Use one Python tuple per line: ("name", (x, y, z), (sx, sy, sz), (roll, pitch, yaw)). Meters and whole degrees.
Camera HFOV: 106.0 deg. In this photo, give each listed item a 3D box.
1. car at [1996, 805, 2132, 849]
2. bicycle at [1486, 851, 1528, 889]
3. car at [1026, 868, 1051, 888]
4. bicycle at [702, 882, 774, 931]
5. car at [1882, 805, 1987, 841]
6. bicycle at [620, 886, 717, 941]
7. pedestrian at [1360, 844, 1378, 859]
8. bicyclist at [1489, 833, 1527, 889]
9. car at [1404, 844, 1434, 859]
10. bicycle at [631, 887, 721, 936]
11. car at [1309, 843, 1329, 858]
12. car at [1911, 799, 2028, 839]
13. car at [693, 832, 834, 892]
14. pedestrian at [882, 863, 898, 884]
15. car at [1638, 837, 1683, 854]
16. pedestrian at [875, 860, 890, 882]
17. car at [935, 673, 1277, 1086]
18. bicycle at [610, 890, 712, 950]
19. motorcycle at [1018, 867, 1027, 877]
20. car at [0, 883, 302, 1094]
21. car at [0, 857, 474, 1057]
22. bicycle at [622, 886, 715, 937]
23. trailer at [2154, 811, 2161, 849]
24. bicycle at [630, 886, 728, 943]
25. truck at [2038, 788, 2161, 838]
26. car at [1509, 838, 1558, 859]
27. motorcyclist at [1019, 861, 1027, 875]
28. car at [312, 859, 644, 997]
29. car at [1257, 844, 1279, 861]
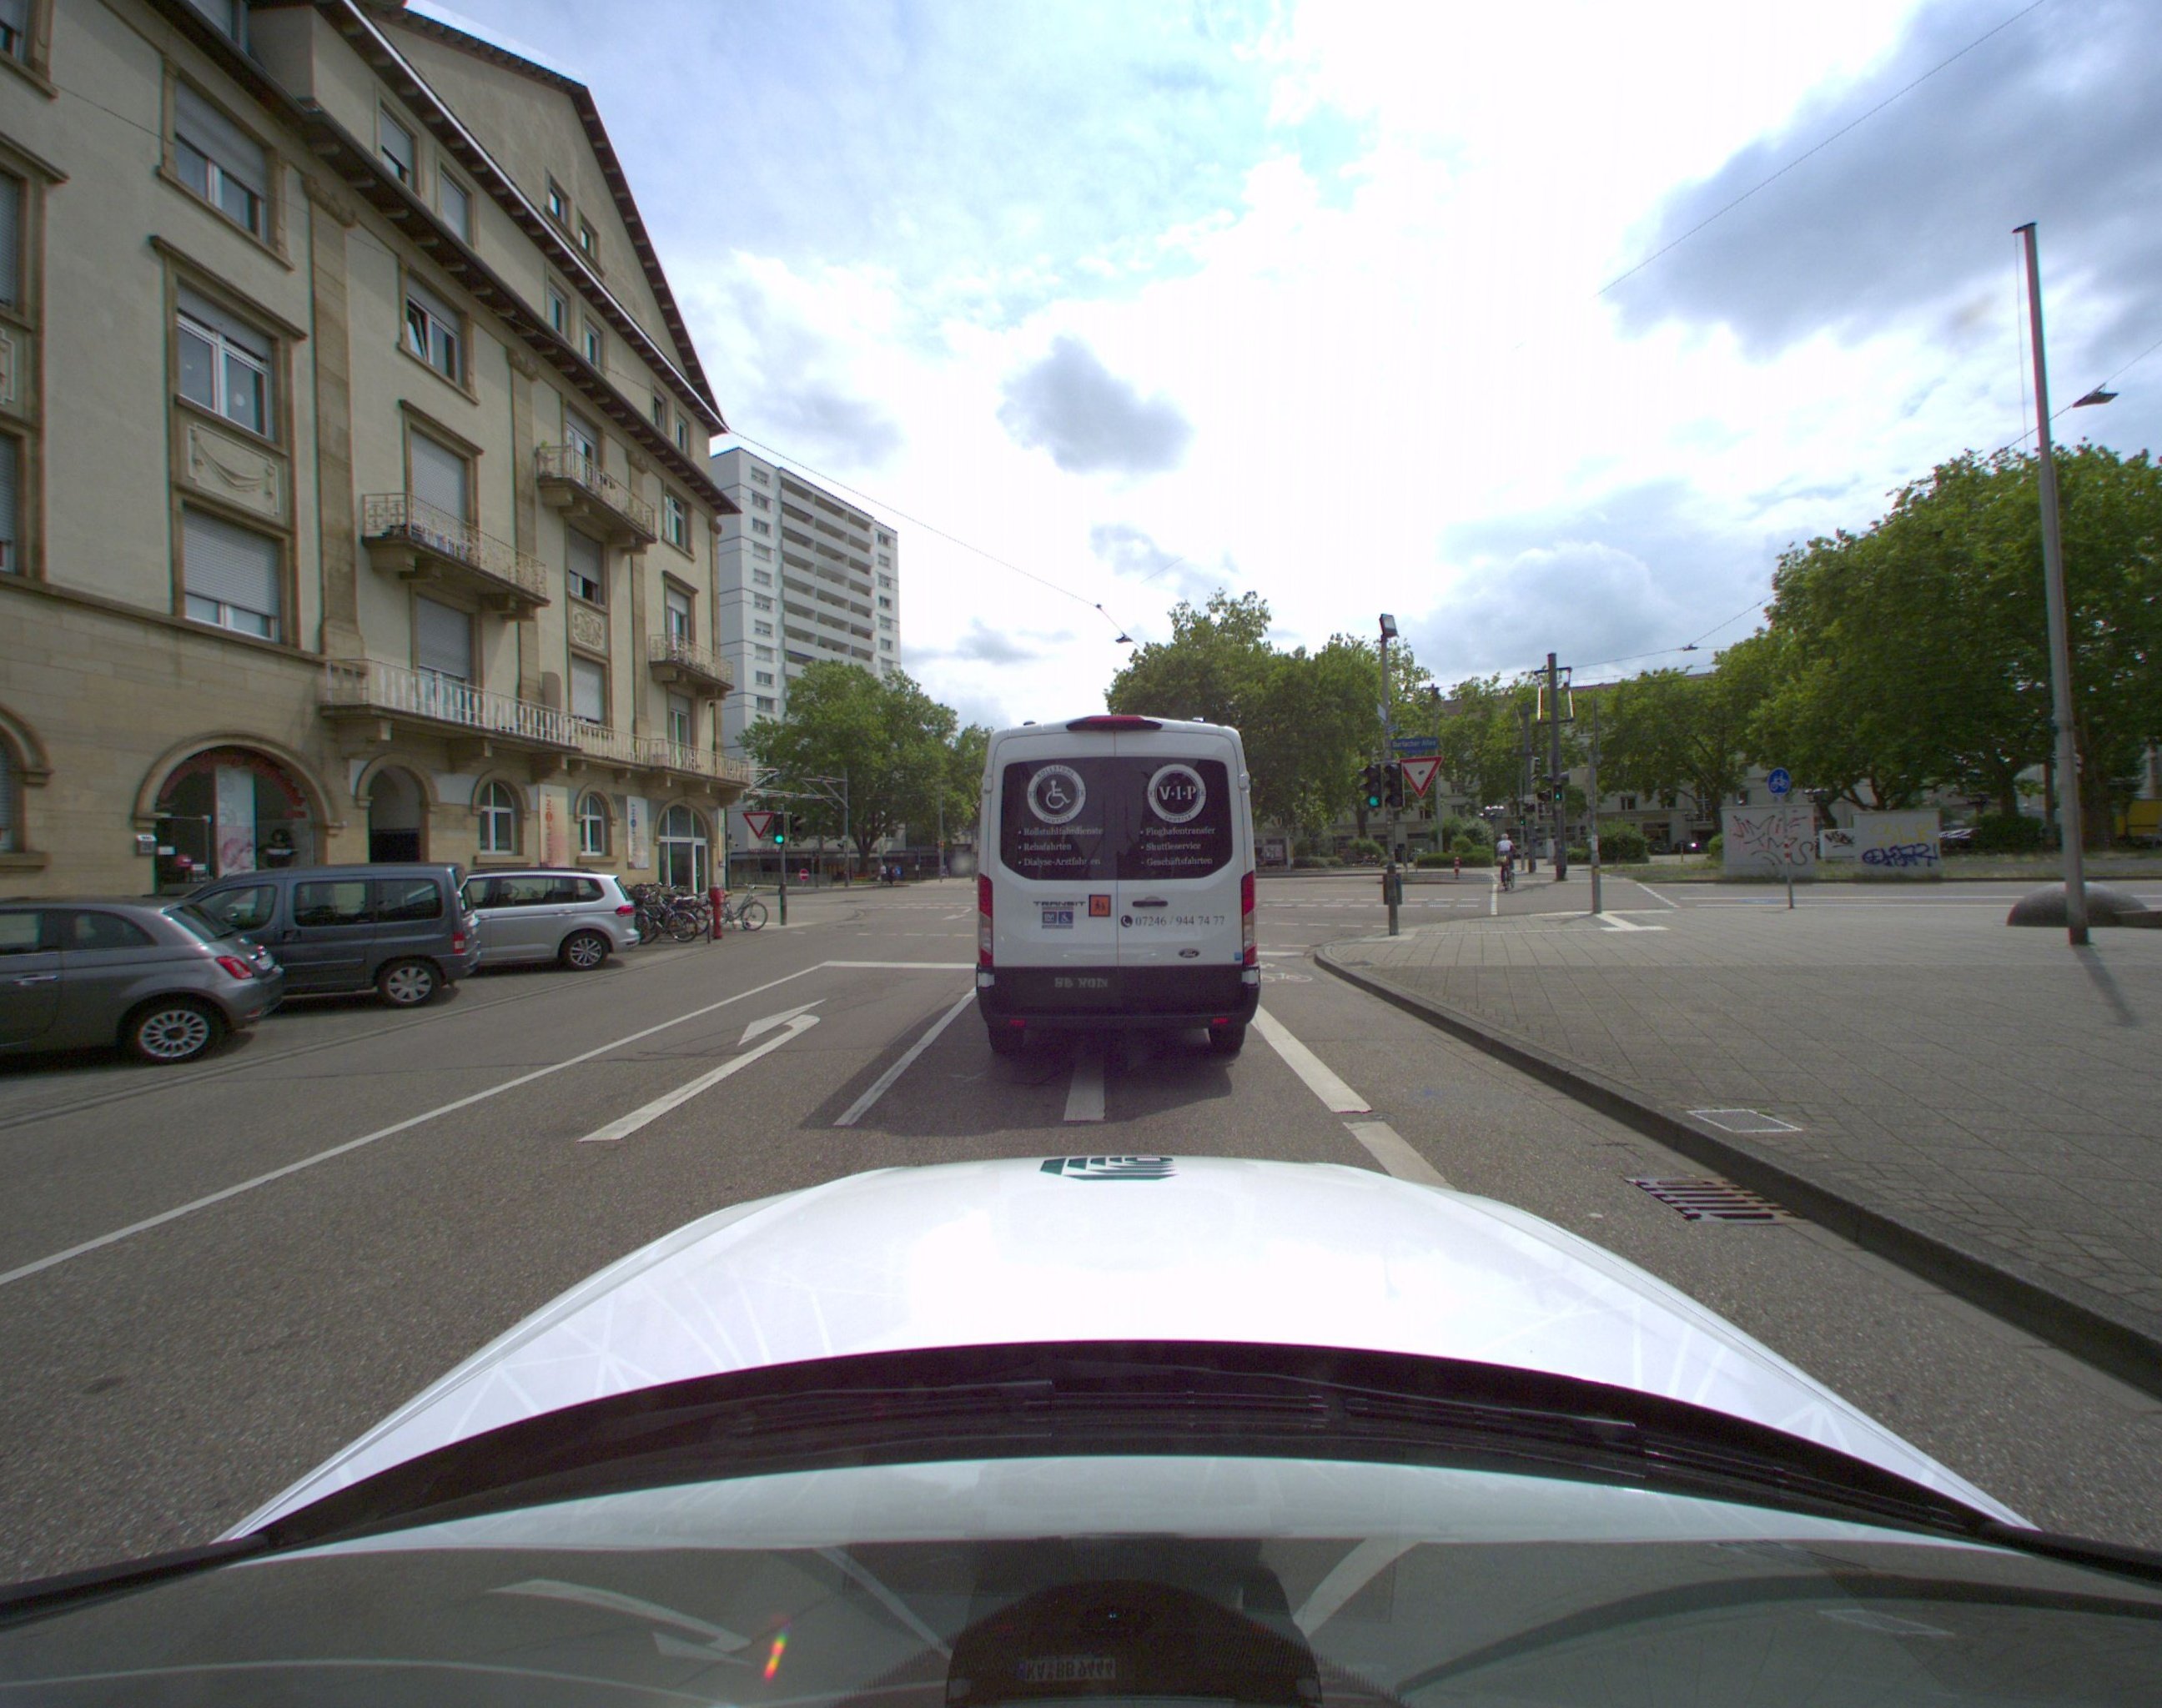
("car", (64.981, -1.729, 53.975), (5.271, 2.585, 2.192), (-2, -1, 24))
("bicycle", (13.031, 0.476, 24.861), (0.894, 1.075, 1.983), (-2, 0, 34))
("car", (-3.575, 2.026, 68.690), (1.584, 1.507, 3.812), (-2, 0, 5))
("bicycle", (-8.656, 1.312, 20.558), (1.859, 1.167, 0.500), (0, -1, 22))
("car", (68.890, -2.426, 65.877), (5.271, 2.585, 2.512), (-2, -1, 24))
("bicycle", (-9.171, 1.309, 18.144), (1.807, 1.166, 0.593), (0, -1, -6))
("pedestrian", (24.676, -0.185, 69.864), (1.086, 1.236, 1.443), (-4, -1, 6))
("bicyclist", (12.976, 0.215, 24.745), (0.895, 1.683, 0.762), (-2, 0, 34))
("car", (36.237, -0.318, 87.378), (1.983, 1.503, 4.008), (-2, 0, 7))
("bicycle", (-9.662, 1.355, 19.466), (1.807, 1.120, 0.593), (0, -1, -6))
("car", (29.839, -0.438, 102.071), (1.788, 1.684, 4.023), (-2, 0, 24))
("car", (66.645, -2.574, 61.224), (5.271, 2.585, 2.512), (-2, -1, 24))
("car", (-22.514, 0.632, 57.643), (9.793, 3.915, 3.476), (-2, 0, 26))
("pedestrian", (-13.946, 1.443, 59.360), (0.727, 1.514, 0.921), (-2, 0, -42))
("car", (55.576, -0.821, 78.214), (1.757, 1.503, 4.008), (-2, 0, 7))
("pedestrian", (-14.225, 1.204, 58.345), (0.727, 1.572, 0.800), (-2, 0, -41))
("car", (0.193, 0.153, 7.637), (2.174, 2.648, 4.628), (-1, 0, 1))
("bicycle", (-8.630, 1.352, 16.756), (1.799, 1.120, 0.595), (-2, 0, 8))
("motorcycle", (-5.971, 1.857, 83.178), (0.680, 0.971, 2.325), (-2, 0, 2))
("car", (-9.864, 1.192, 7.235), (4.031, 1.651, 1.776), (-2, 0, -37))
("car", (-9.898, 1.048, 9.866), (4.031, 1.878, 1.776), (-2, 0, -37))
("bicycle", (-9.477, 1.310, 18.764), (1.807, 1.120, 0.593), (0, -1, -6))
("trailer", (55.412, -1.257, 39.060), (4.381, 1.925, 1.865), (-2, 0, 26))
("bicycle", (-8.569, 1.274, 17.392), (1.800, 1.120, 0.595), (2, 0, 5))
("truck", (58.313, -2.248, 46.002), (3.042, 2.577, 6.549), (-2, 0, 25))
("car", (43.261, -0.519, 77.913), (3.950, 1.883, 1.868), (-2, 0, 26))
("motorcyclist", (-5.975, 1.440, 83.666), (0.680, 1.395, 0.682), (-2, 0, 2))
("car", (-9.501, 1.049, 13.158), (4.031, 1.773, 1.776), (-2, 0, -37))
("car", (21.660, -0.175, 94.333), (1.983, 1.930, 4.008), (-2, 0, 7))
